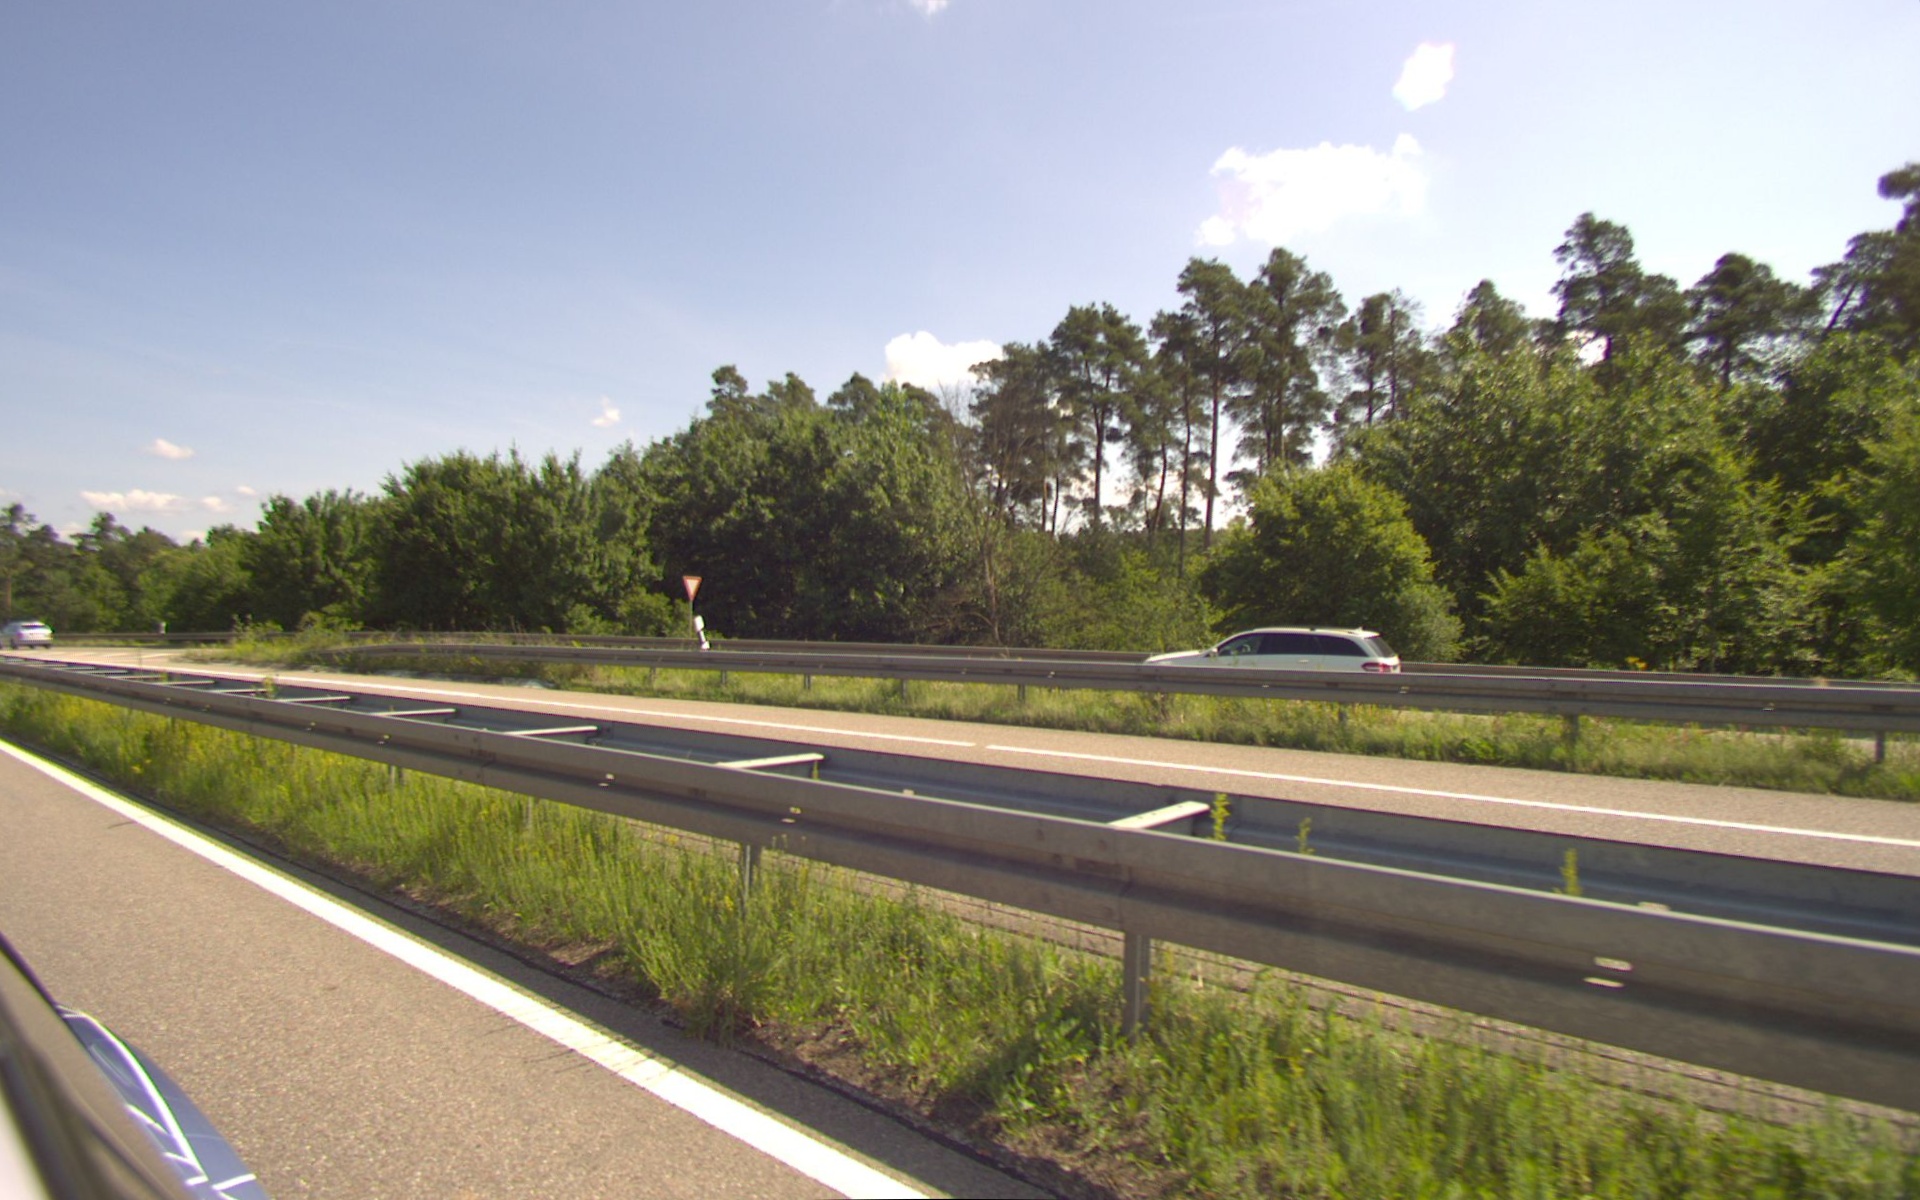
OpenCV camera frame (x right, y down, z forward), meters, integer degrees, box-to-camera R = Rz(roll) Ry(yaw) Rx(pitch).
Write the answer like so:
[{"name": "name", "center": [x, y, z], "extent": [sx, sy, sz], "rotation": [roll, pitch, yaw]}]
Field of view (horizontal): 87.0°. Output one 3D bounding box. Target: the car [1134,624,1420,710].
[{"name": "car", "center": [5.889, 1.172, 19.028], "extent": [4.817, 1.425, 1.933], "rotation": [-1, -1, 32]}]

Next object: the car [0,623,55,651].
[{"name": "car", "center": [-50.477, 2.007, 54.426], "extent": [4.198, 1.439, 1.666], "rotation": [-2, -1, 32]}]
